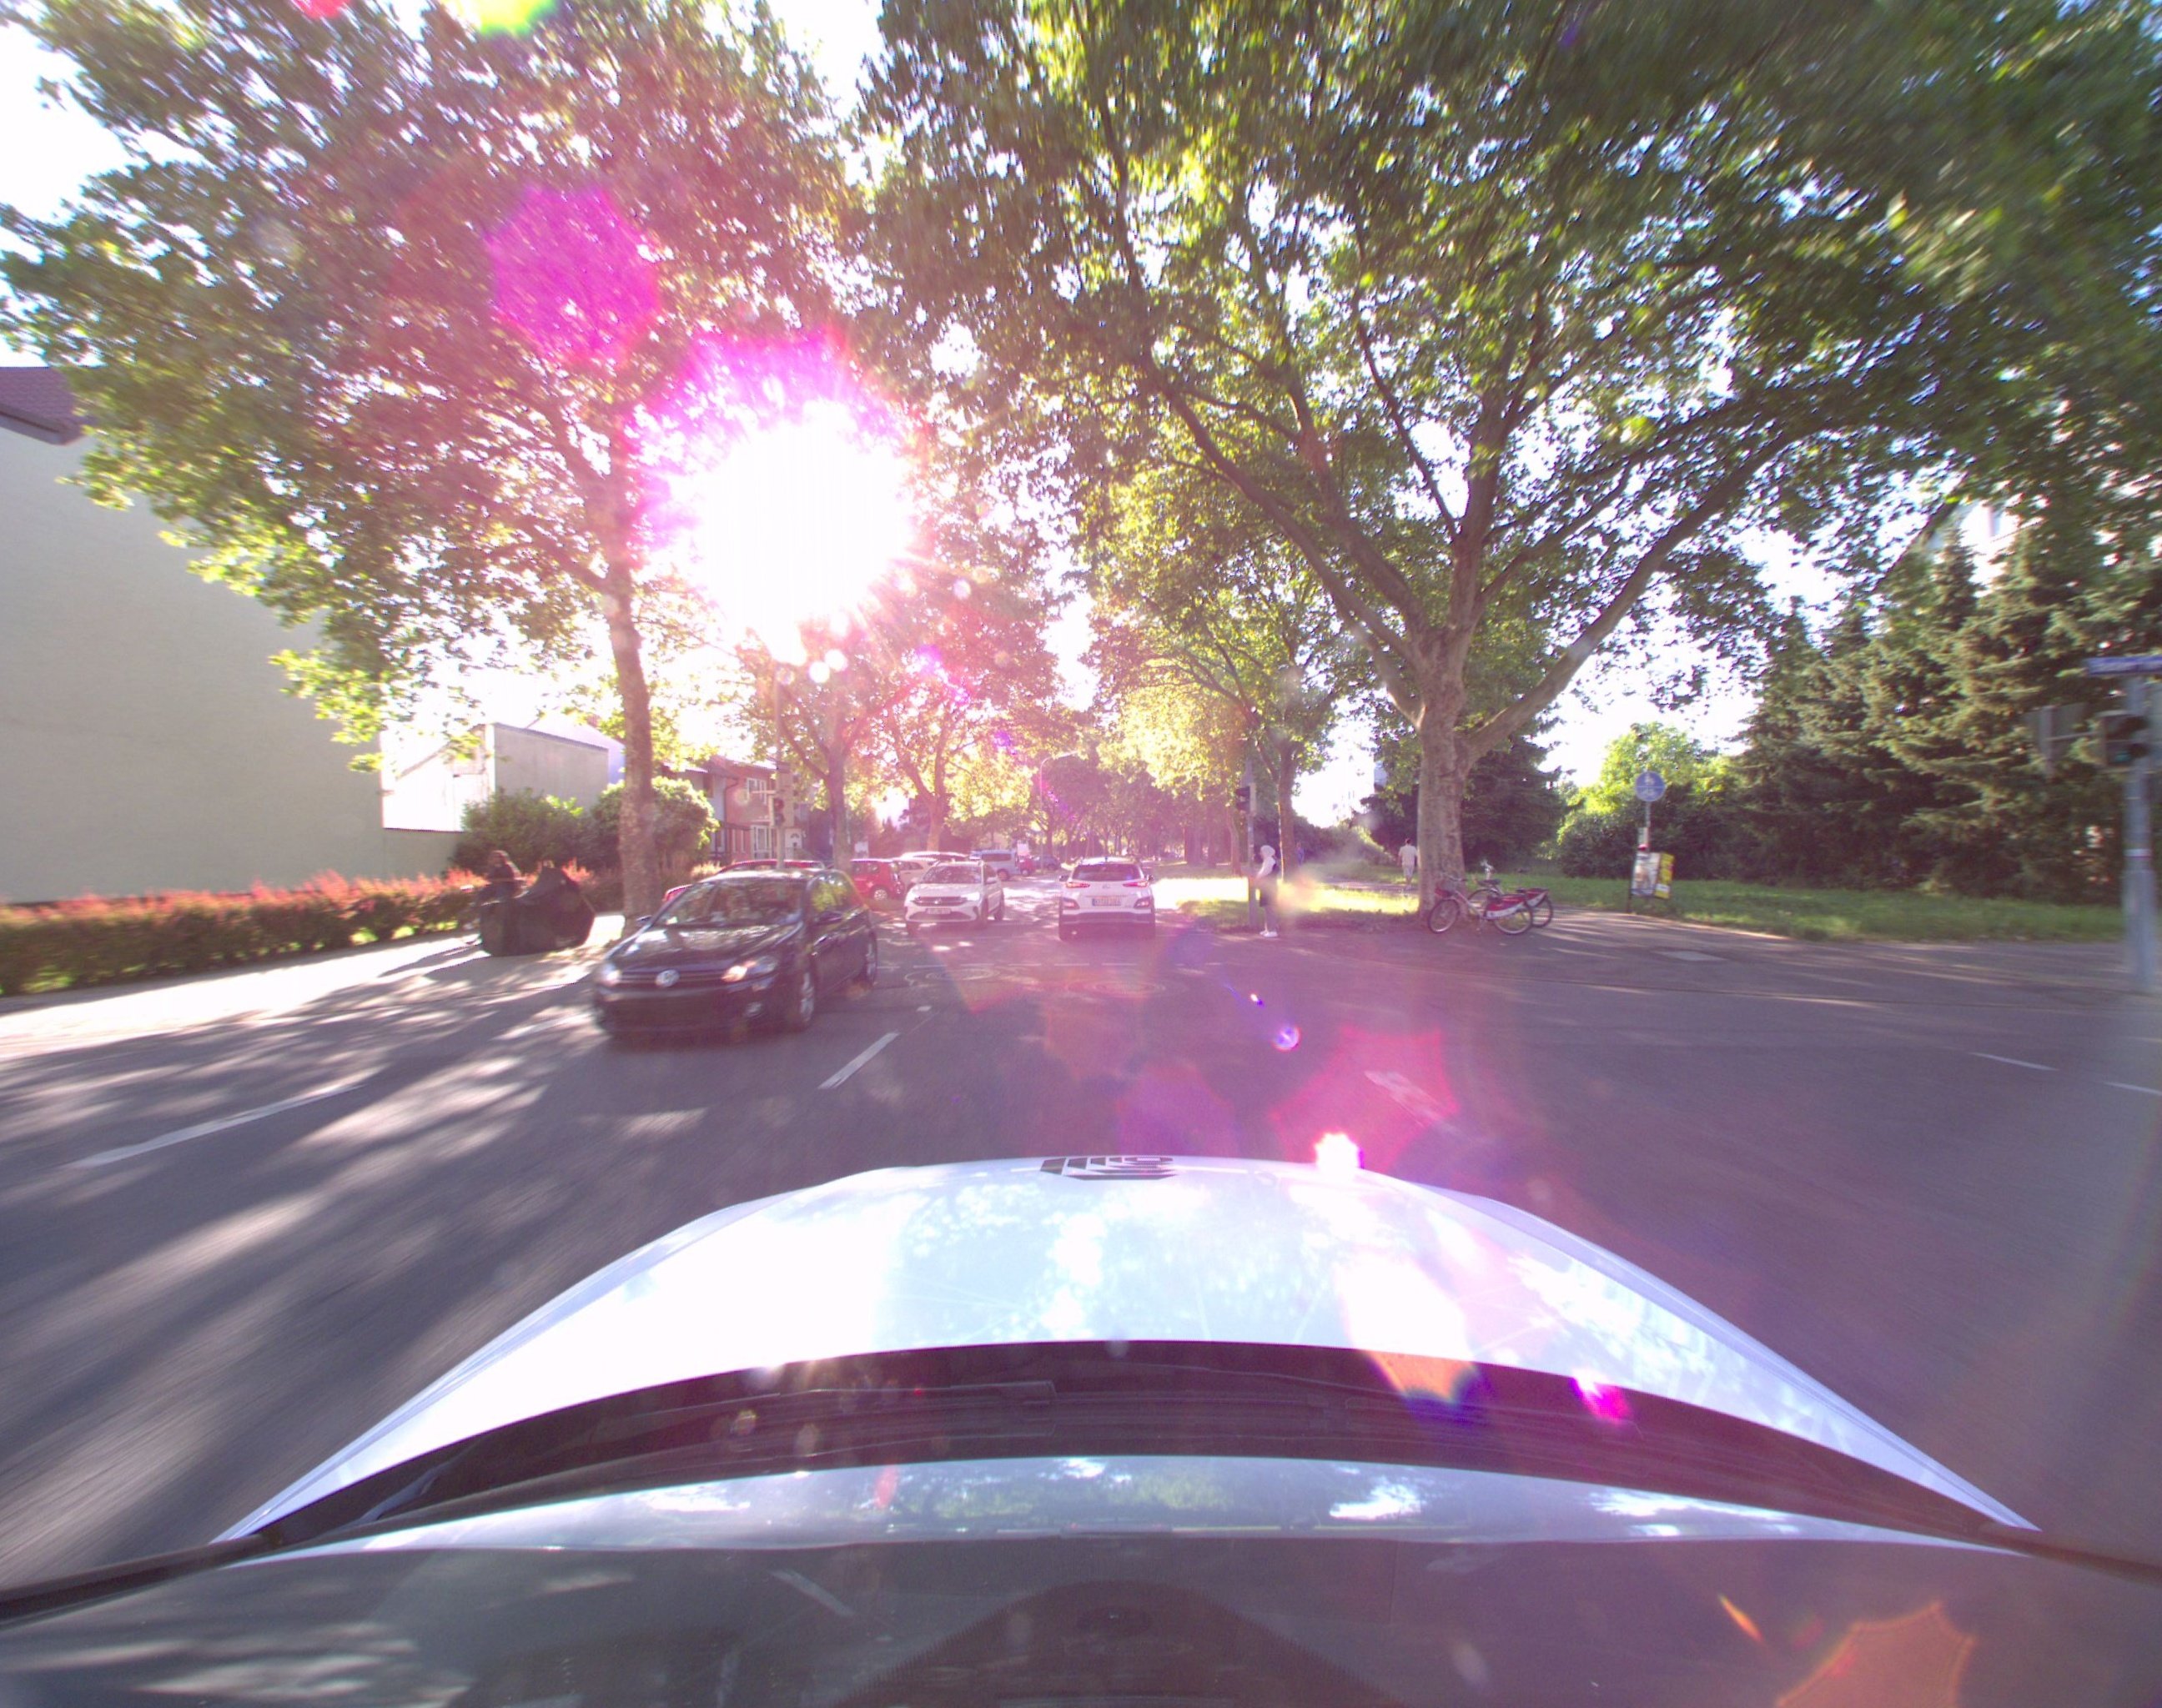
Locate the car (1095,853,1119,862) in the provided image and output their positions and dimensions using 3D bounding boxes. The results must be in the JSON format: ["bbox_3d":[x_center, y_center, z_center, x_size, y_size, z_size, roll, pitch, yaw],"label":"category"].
[{"bbox_3d":[4.772,0.637,148.799,4.164,1.584,2.002,0,0,4],"label":"car"}]

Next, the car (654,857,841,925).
[{"bbox_3d":[-7.990,0.866,19.753,3.752,1.535,1.831,-1,0,0],"label":"car"}]

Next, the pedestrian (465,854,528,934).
[{"bbox_3d":[-11.737,0.775,16.376,0.508,1.531,1.033,-2,1,-4],"label":"pedestrian"}]

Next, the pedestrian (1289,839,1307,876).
[{"bbox_3d":[10.909,0.168,40.930,0.751,1.847,0.804,-1,0,6],"label":"pedestrian"}]

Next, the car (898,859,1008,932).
[{"bbox_3d":[-2.859,0.878,19.084,1.709,1.501,4.097,-1,0,3],"label":"car"}]

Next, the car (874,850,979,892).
[{"bbox_3d":[-6.527,0.703,34.675,4.075,1.716,1.832,-1,0,2],"label":"car"}]

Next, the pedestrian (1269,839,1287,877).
[{"bbox_3d":[9.918,0.189,40.974,0.757,1.846,0.789,-1,0,6],"label":"pedestrian"}]

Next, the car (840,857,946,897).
[{"bbox_3d":[-7.443,0.897,32.442,3.744,1.483,1.755,-1,0,2],"label":"car"}]

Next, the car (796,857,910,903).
[{"bbox_3d":[-7.579,0.856,27.297,3.328,1.480,1.695,0,0,0],"label":"car"}]

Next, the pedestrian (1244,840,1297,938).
[{"bbox_3d":[3.495,0.626,15.073,0.633,1.719,0.824,-3,0,-6],"label":"pedestrian"}]

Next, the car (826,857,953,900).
[{"bbox_3d":[-6.897,0.872,29.646,4.147,1.501,1.876,0,0,0],"label":"car"}]

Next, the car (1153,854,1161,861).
[{"bbox_3d":[17.079,0.737,183.313,1.681,1.465,3.699,0,-1,5],"label":"car"}]

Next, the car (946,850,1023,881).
[{"bbox_3d":[-5.811,0.678,49.505,4.370,1.824,1.996,0,0,1],"label":"car"}]

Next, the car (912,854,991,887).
[{"bbox_3d":[-6.566,0.827,41.488,3.627,1.517,1.783,-1,0,2],"label":"car"}]

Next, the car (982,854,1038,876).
[{"bbox_3d":[-5.170,0.791,59.467,3.857,1.518,1.665,-1,0,1],"label":"car"}]

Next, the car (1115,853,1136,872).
[{"bbox_3d":[3.821,0.693,69.945,1.755,1.523,3.924,0,0,4],"label":"car"}]

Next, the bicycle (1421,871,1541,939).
[{"bbox_3d":[6.575,0.810,13.438,1.698,1.035,0.449,-1,2,37],"label":"bicycle"}]

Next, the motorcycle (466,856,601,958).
[{"bbox_3d":[-10.038,0.908,15.085,0.978,1.637,2.386,-2,2,-5],"label":"motorcycle"}]

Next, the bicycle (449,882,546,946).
[{"bbox_3d":[-11.719,1.171,16.444,0.508,1.041,2.150,-2,2,-4],"label":"bicycle"}]

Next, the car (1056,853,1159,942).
[{"bbox_3d":[0.493,0.796,16.660,1.829,1.556,3.999,-1,-1,0],"label":"car"}]

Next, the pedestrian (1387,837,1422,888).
[{"bbox_3d":[10.840,0.272,27.286,0.776,1.649,0.939,-2,0,2],"label":"pedestrian"}]

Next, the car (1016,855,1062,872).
[{"bbox_3d":[-3.787,0.825,73.331,3.974,1.518,1.818,0,0,1],"label":"car"}]

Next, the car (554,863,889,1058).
[{"bbox_3d":[-3.326,0.864,8.497,1.721,1.464,4.066,-2,0,-1],"label":"car"}]

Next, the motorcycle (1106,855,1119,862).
[{"bbox_3d":[5.851,0.822,151.035,2.375,1.388,0.649,-1,-1,3],"label":"motorcycle"}]

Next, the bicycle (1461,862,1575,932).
[{"bbox_3d":[7.650,0.718,14.370,0.446,1.082,1.996,-3,2,-18],"label":"bicycle"}]

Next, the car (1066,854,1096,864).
[{"bbox_3d":[0.015,0.648,111.776,3.806,1.316,1.793,1,0,5],"label":"car"}]
